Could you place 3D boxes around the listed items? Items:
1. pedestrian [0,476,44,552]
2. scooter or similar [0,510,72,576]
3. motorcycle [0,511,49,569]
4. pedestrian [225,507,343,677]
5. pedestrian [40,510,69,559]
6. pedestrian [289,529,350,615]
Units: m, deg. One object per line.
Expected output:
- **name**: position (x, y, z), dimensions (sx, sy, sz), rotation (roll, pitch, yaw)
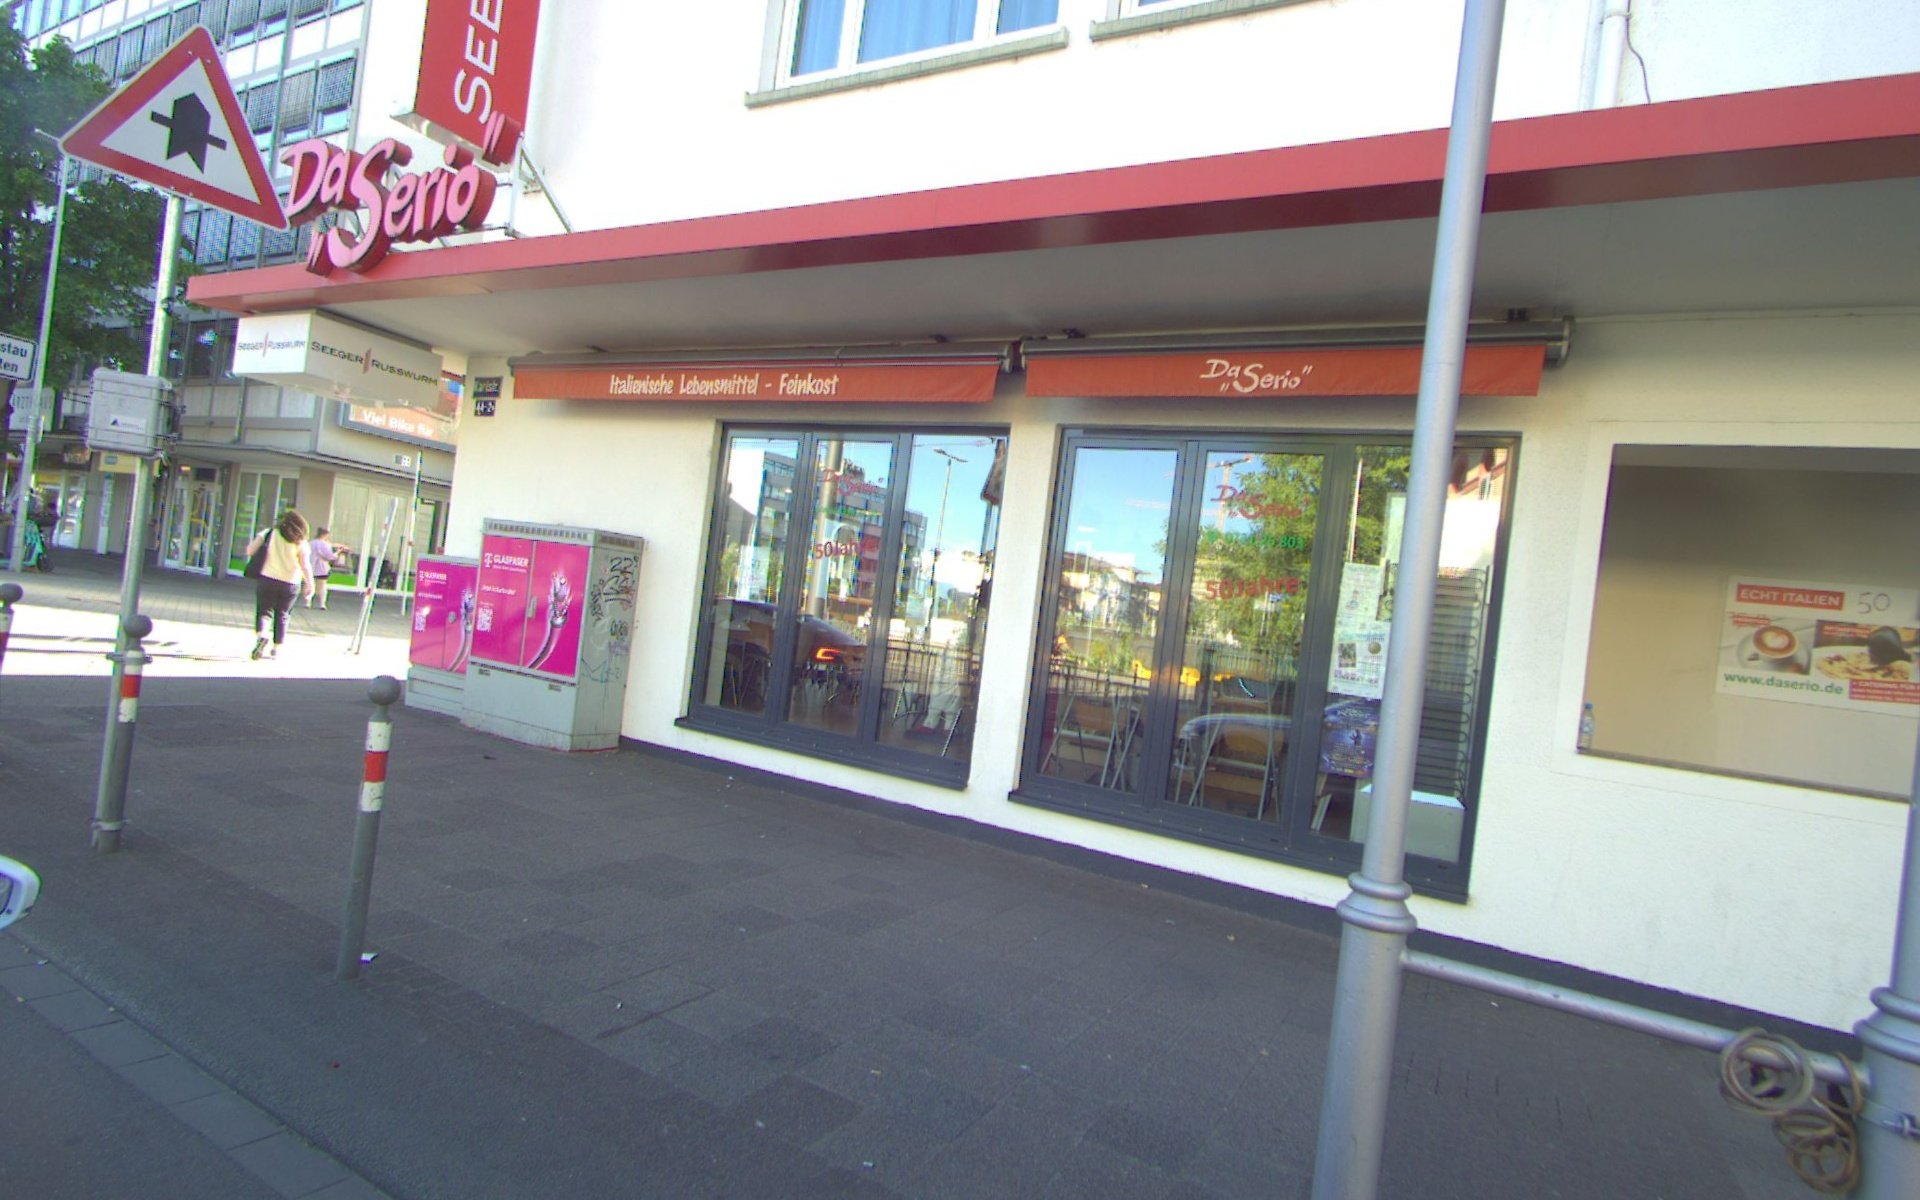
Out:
- **pedestrian**: position (-26.767, -2.452, 28.688), dimensions (0.570, 2.037, 0.663), rotation (6, -1, 34)
- **scooter or similar**: position (-19.932, -1.233, 21.175), dimensions (1.628, 1.229, 0.640), rotation (8, -1, -29)
- **motorcycle**: position (-21.561, -1.411, 22.404), dimensions (0.532, 1.186, 1.711), rotation (7, -2, 30)
- **pedestrian**: position (-7.747, -0.093, 11.538), dimensions (0.909, 1.773, 1.029), rotation (7, 0, -35)
- **pedestrian**: position (-26.379, -1.904, 29.300), dimensions (0.504, 1.359, 0.390), rotation (6, -1, 34)
- **pedestrian**: position (-13.648, -0.600, 21.432), dimensions (0.884, 1.687, 0.801), rotation (8, -1, -35)
